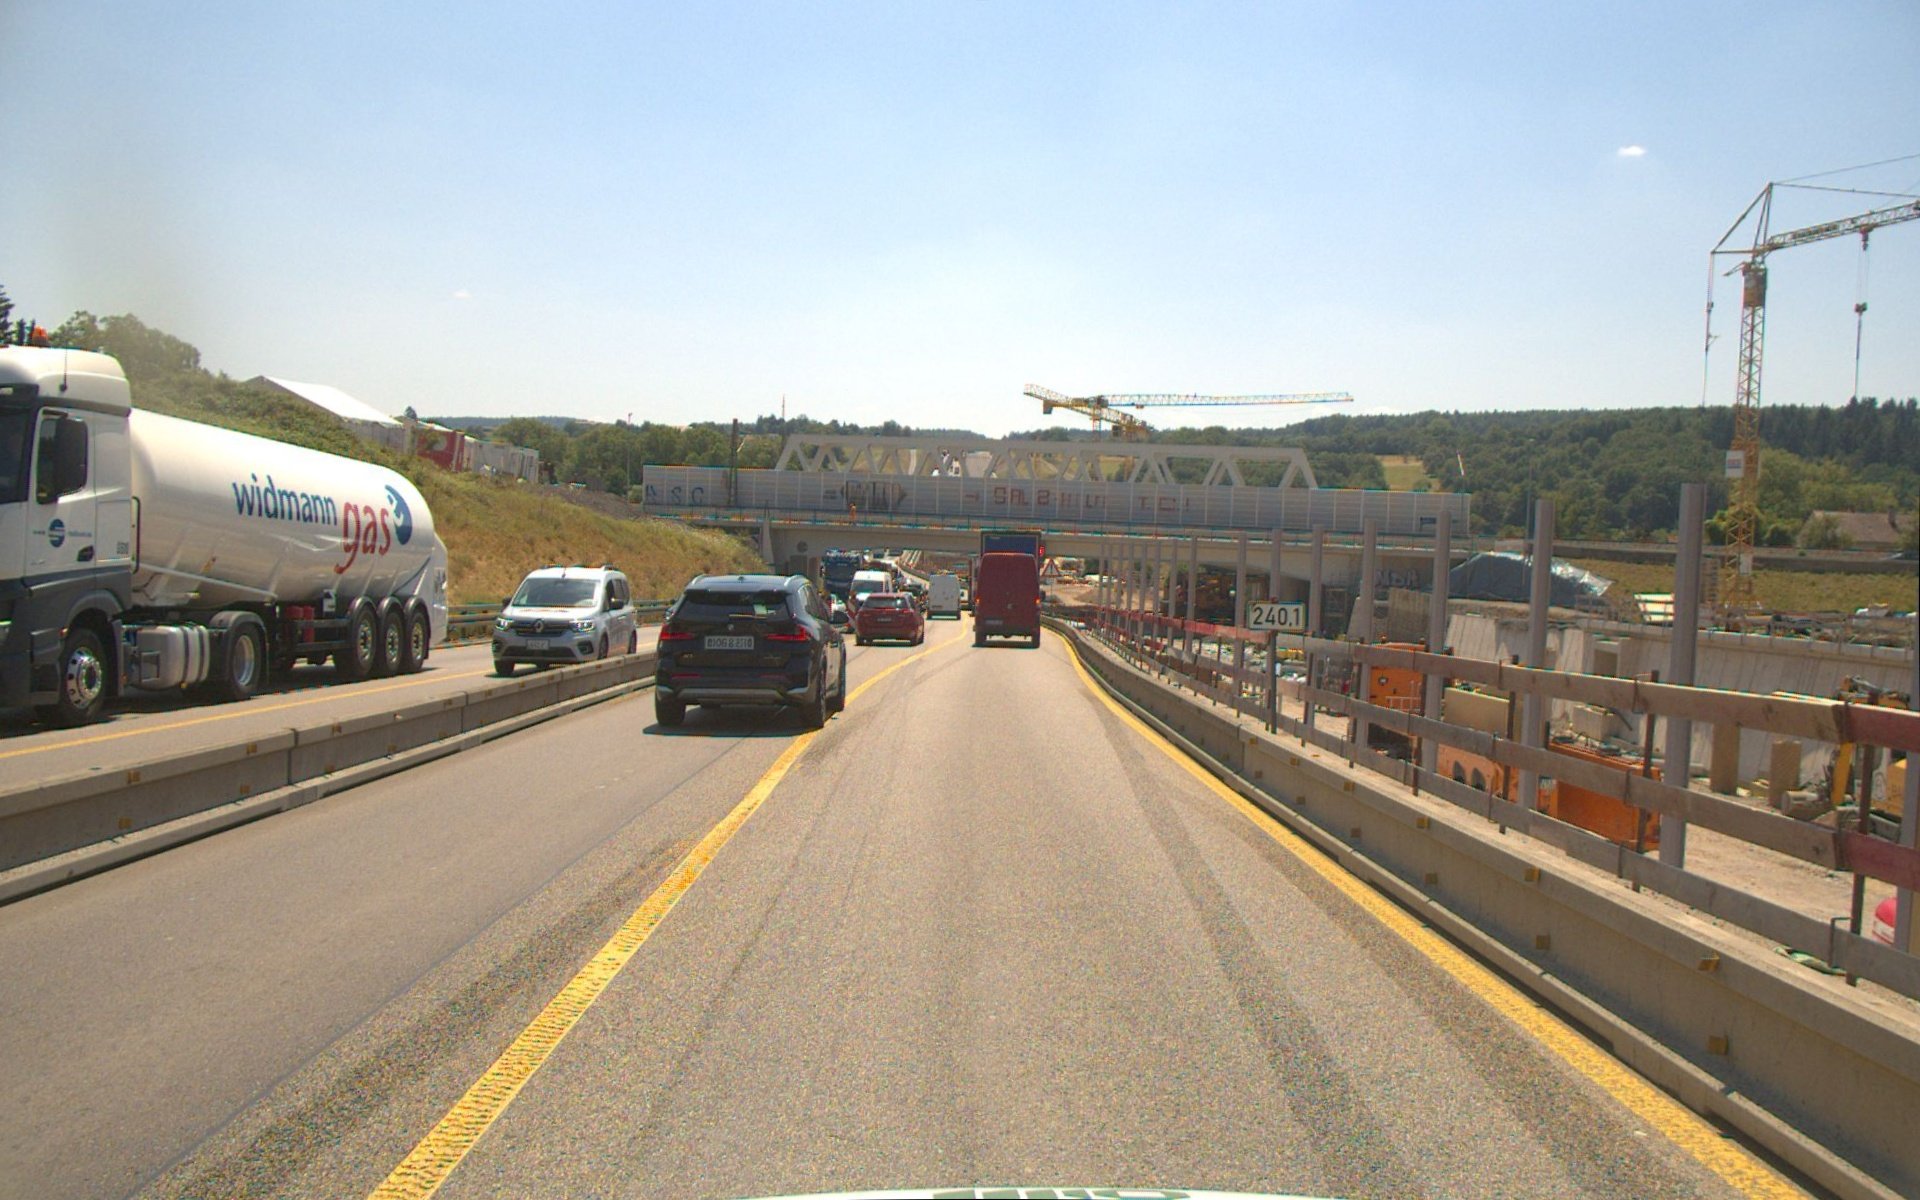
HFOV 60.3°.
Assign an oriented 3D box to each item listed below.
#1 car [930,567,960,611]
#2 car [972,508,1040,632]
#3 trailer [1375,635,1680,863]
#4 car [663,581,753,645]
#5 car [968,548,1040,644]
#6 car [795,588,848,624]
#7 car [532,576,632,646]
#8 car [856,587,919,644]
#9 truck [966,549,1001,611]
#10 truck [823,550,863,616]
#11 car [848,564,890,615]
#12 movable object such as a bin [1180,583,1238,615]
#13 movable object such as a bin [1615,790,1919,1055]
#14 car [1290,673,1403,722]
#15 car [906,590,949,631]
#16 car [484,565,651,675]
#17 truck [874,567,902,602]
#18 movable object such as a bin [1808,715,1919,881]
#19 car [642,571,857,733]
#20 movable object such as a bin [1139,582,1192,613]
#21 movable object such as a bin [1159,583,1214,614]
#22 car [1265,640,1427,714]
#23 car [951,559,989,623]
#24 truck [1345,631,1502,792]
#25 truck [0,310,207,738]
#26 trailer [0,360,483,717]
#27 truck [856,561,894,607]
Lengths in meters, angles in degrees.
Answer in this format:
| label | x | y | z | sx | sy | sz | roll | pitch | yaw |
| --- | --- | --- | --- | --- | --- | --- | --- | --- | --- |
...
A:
| label | x | y | z | sx | sy | sz | roll | pitch | yaw |
| --- | --- | --- | --- | --- | --- | --- | --- | --- | --- |
| car | -0.887 | -0.649 | 96.555 | 1.740 | 2.484 | 4.205 | 0 | 1 | -1 |
| car | 1.936 | -1.326 | 73.717 | 2.568 | 5.120 | 10.395 | 0 | 1 | -1 |
| trailer | 12.680 | 3.039 | 38.705 | 2.702 | 3.954 | 13.050 | 1 | 1 | 1 |
| car | -6.905 | 0.314 | 45.742 | 1.754 | 1.639 | 4.733 | 1 | 1 | 0 |
| car | 1.259 | -0.140 | 49.700 | 1.948 | 2.737 | 4.623 | 0 | 1 | -1 |
| car | -6.150 | 0.252 | 73.795 | 1.763 | 1.472 | 4.638 | 1 | 1 | 2 |
| car | -10.195 | 0.259 | 44.908 | 1.754 | 1.793 | 4.536 | 0 | 1 | -2 |
| car | -2.113 | 0.408 | 47.695 | 1.740 | 1.544 | 4.204 | 0 | 1 | -3 |
| truck | 2.234 | -1.838 | 152.625 | 2.776 | 5.492 | 12.917 | 1 | 1 | 3 |
| truck | -7.454 | -1.108 | 105.441 | 2.310 | 4.085 | 3.998 | 1 | 0 | -2 |
| car | -4.950 | -0.598 | 90.771 | 1.953 | 2.652 | 7.010 | 1 | 1 | 0 |
| movable object such as a bin | 22.940 | -0.108 | 152.461 | 5.038 | 2.856 | 2.144 | 1 | 0 | 5 |
| movable object such as a bin | 10.768 | 4.107 | 22.004 | 2.124 | 2.474 | 4.821 | 3 | 0 | 1 |
| car | 17.680 | 4.470 | 75.842 | 4.631 | 1.804 | 2.001 | 3 | 2 | 1 |
| car | -1.407 | 0.417 | 70.950 | 1.802 | 1.683 | 4.164 | 0 | 1 | -2 |
| car | -6.730 | 0.296 | 28.842 | 1.841 | 1.775 | 4.482 | 0 | 1 | 0 |
| truck | -8.587 | -1.891 | 198.047 | 2.777 | 3.919 | 12.911 | 1 | 1 | -1 |
| movable object such as a bin | 20.979 | 4.305 | 36.257 | 2.233 | 3.076 | 4.821 | 3 | 0 | 1 |
| car | -2.298 | 0.503 | 19.190 | 1.841 | 1.646 | 4.500 | 0 | 1 | 1 |
| movable object such as a bin | 20.367 | -0.244 | 164.171 | 5.038 | 2.856 | 2.144 | 1 | 0 | 5 |
| movable object such as a bin | 21.791 | -0.174 | 159.183 | 5.038 | 2.856 | 2.144 | 1 | 0 | 5 |
| car | 16.074 | 3.182 | 68.981 | 5.978 | 2.629 | 2.524 | 3 | 2 | -10 |
| car | 0.666 | -0.664 | 112.960 | 2.400 | 4.233 | 6.859 | 0 | 1 | -1 |
| truck | 12.749 | 2.957 | 45.976 | 2.702 | 3.954 | 5.882 | 1 | 1 | 1 |
| truck | -9.793 | -0.736 | 16.796 | 2.537 | 3.868 | 3.766 | 1 | 0 | -1 |
| trailer | -9.886 | -0.744 | 24.072 | 2.537 | 3.868 | 11.916 | 1 | 1 | -1 |
| truck | -7.604 | -1.486 | 149.654 | 2.777 | 3.919 | 12.911 | 1 | 1 | 0 |
